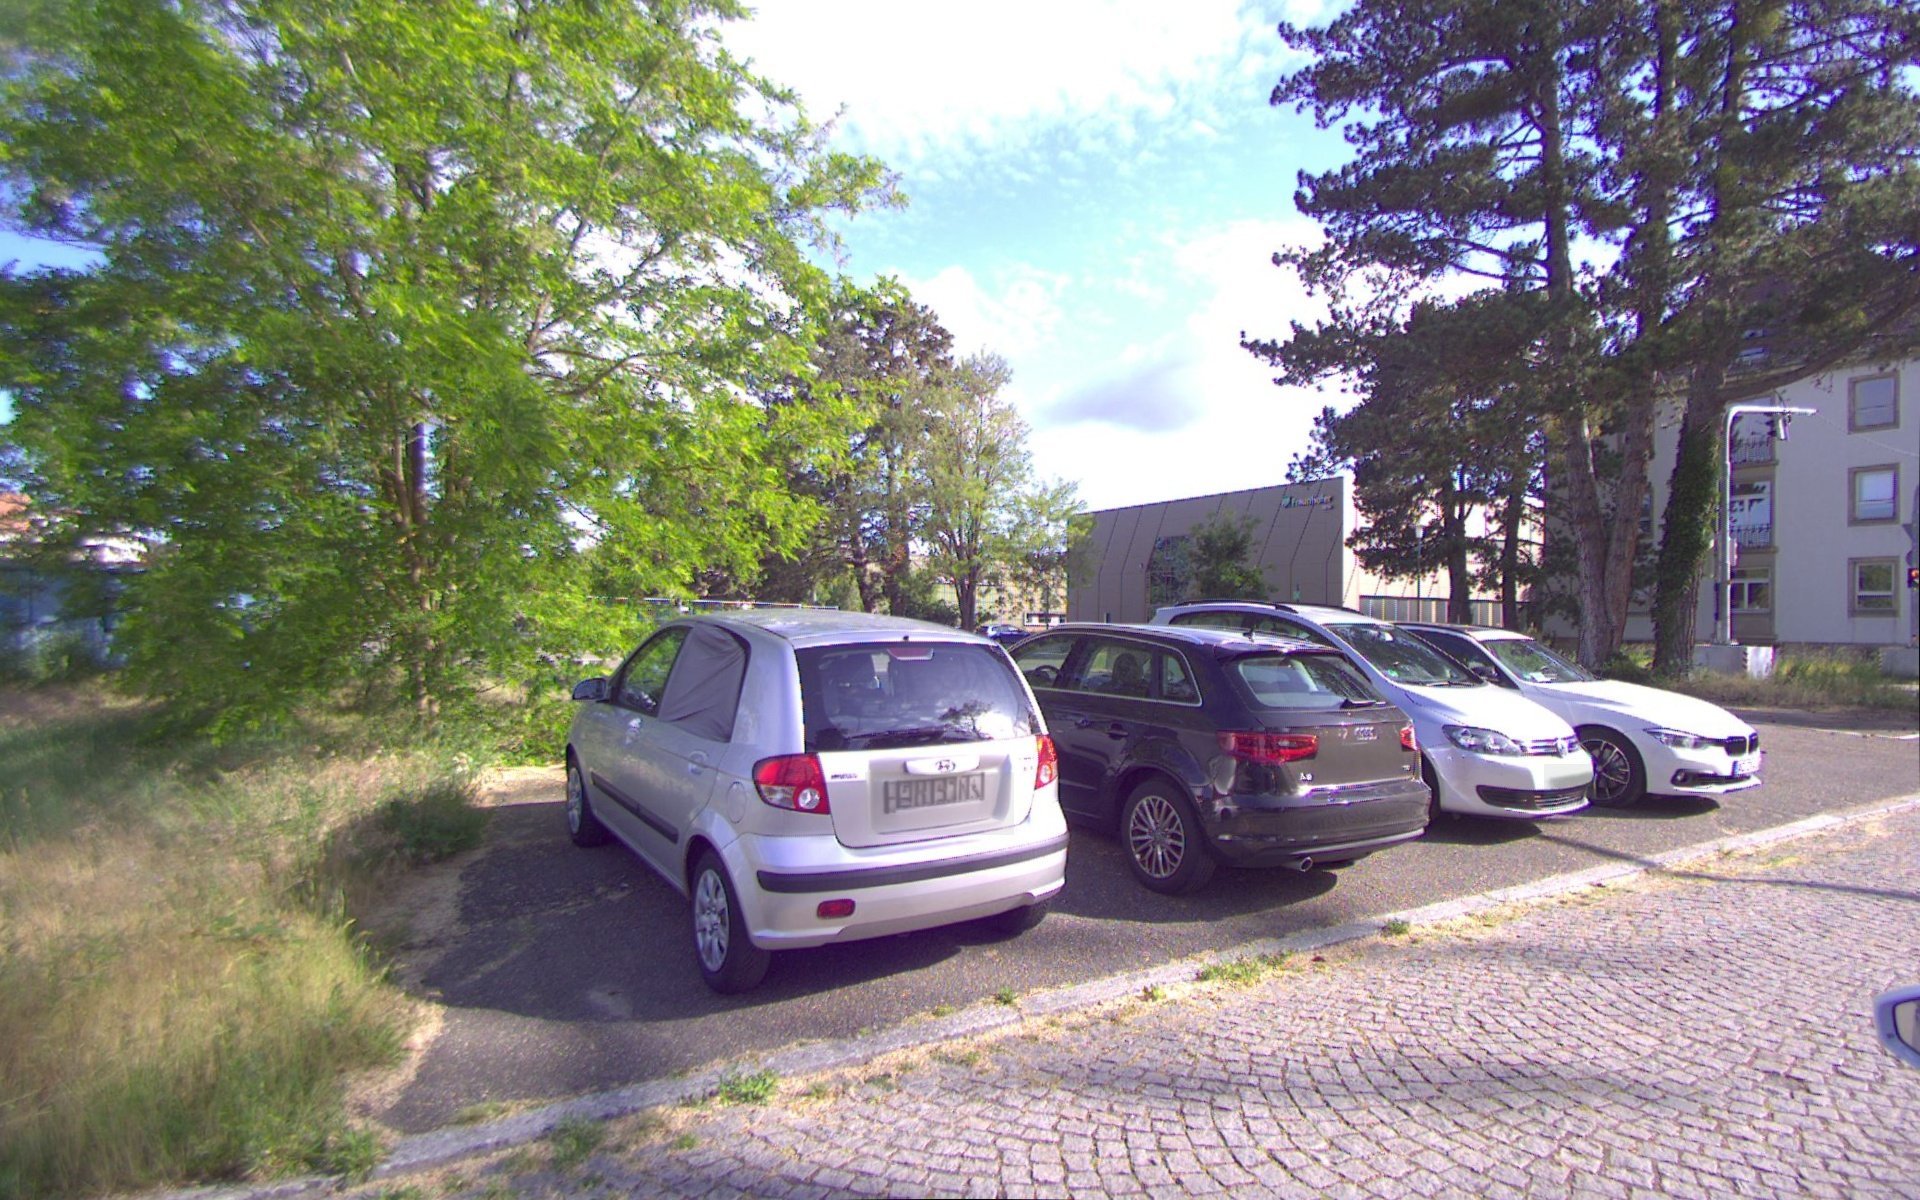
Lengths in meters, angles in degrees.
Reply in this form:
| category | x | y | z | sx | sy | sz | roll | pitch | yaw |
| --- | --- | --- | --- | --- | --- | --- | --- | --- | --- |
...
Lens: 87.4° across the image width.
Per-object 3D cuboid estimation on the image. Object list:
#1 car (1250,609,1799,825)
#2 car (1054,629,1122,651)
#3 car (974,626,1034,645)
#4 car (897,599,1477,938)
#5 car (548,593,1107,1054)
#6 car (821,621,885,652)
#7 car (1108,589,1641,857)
| category | x | y | z | sx | sy | sz | roll | pitch | yaw |
| --- | --- | --- | --- | --- | --- | --- | --- | --- | --- |
| car | 5.292 | 0.933 | 10.111 | 1.734 | 1.487 | 4.513 | 1 | 1 | -33 |
| car | 7.827 | 2.452 | 61.218 | 4.001 | 1.311 | 1.481 | 1 | -1 | -29 |
| car | 3.060 | 2.446 | 69.210 | 3.950 | 1.221 | 1.481 | 1 | -1 | -28 |
| car | 1.213 | 0.827 | 6.867 | 1.669 | 1.490 | 3.776 | 1 | 2 | -32 |
| car | -0.989 | 0.785 | 5.376 | 1.619 | 1.490 | 3.444 | 1 | 2 | -33 |
| car | -5.053 | 1.690 | 47.131 | 1.726 | 1.388 | 3.595 | 1 | -1 | -29 |
| car | 3.280 | 0.810 | 8.671 | 1.705 | 1.648 | 3.917 | 1 | 1 | -35 |
